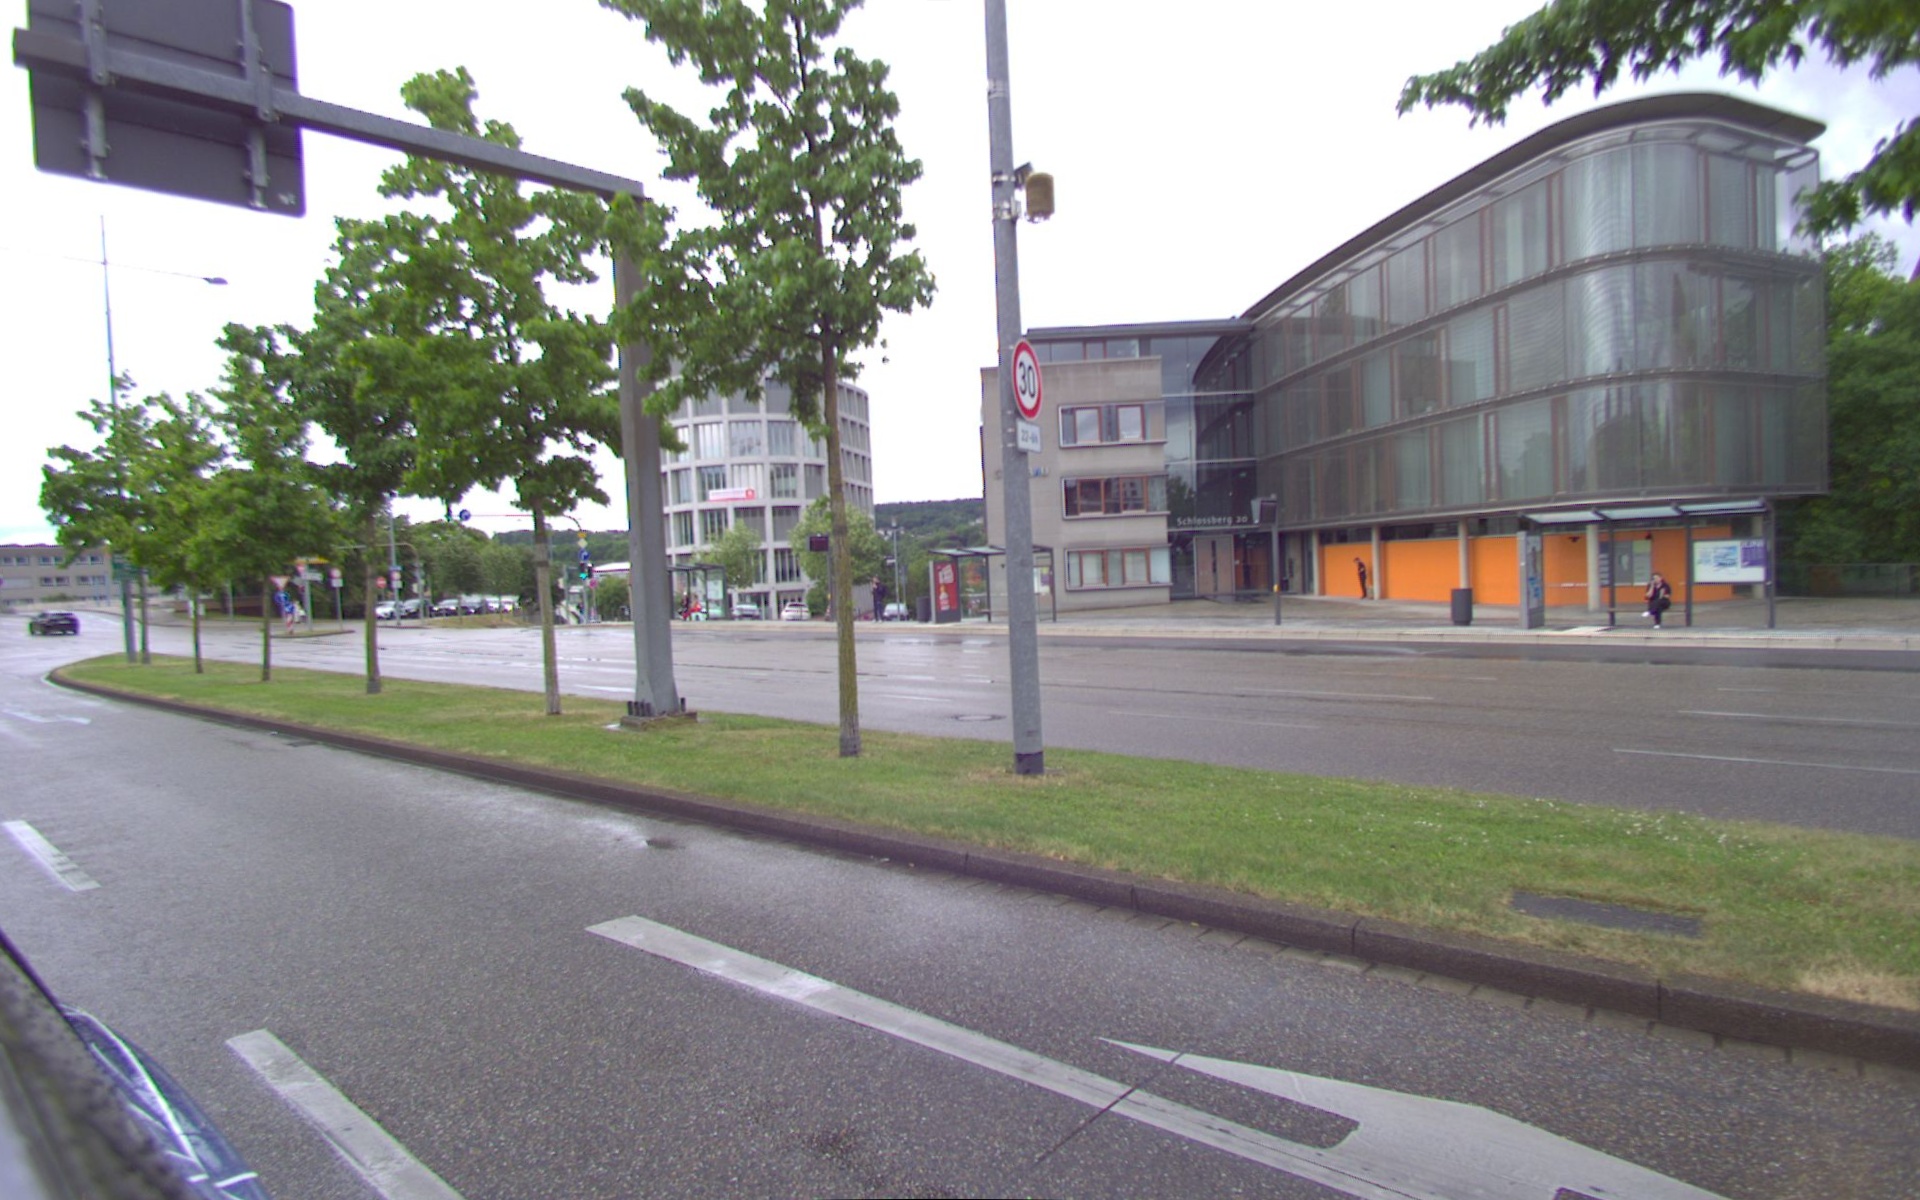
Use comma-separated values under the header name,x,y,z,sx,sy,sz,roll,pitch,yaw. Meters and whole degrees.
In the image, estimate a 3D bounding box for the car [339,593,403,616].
name,x,y,z,sx,sy,sz,roll,pitch,yaw
car,-58.173,0.430,100.033,4.963,2.029,2.311,-2,0,0

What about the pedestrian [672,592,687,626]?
name,x,y,z,sx,sy,sz,roll,pitch,yaw
pedestrian,-13.687,0.440,49.368,0.501,1.647,0.497,-1,0,41

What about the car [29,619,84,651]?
name,x,y,z,sx,sy,sz,roll,pitch,yaw
car,-54.752,2.088,61.330,3.998,1.789,1.973,-1,0,41

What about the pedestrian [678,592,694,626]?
name,x,y,z,sx,sy,sz,roll,pitch,yaw
pedestrian,-13.517,0.435,49.936,0.535,1.647,0.514,-1,0,41

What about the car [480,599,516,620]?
name,x,y,z,sx,sy,sz,roll,pitch,yaw
car,-45.045,0.941,98.811,1.969,2.029,4.005,-1,-1,-6

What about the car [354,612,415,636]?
name,x,y,z,sx,sy,sz,roll,pitch,yaw
car,-45.546,1.856,80.266,2.164,1.725,4.919,-2,0,-2

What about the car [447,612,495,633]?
name,x,y,z,sx,sy,sz,roll,pitch,yaw
car,-44.439,1.990,92.151,2.164,1.725,4.920,-2,0,-3

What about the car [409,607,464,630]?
name,x,y,z,sx,sy,sz,roll,pitch,yaw
car,-42.927,1.454,83.156,2.164,1.725,4.920,-2,0,-3

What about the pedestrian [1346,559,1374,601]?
name,x,y,z,sx,sy,sz,roll,pitch,yaw
pedestrian,16.226,-0.785,41.030,0.697,1.666,0.852,-2,0,-6

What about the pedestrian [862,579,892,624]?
name,x,y,z,sx,sy,sz,roll,pitch,yaw
pedestrian,-3.312,0.056,40.246,0.964,1.773,0.783,-2,0,12

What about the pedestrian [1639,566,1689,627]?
name,x,y,z,sx,sy,sz,roll,pitch,yaw
pedestrian,15.675,-0.075,22.546,0.790,1.334,0.793,-2,0,42

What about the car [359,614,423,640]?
name,x,y,z,sx,sy,sz,roll,pitch,yaw
car,-42.456,1.990,75.657,2.164,1.725,4.920,-2,0,-3
